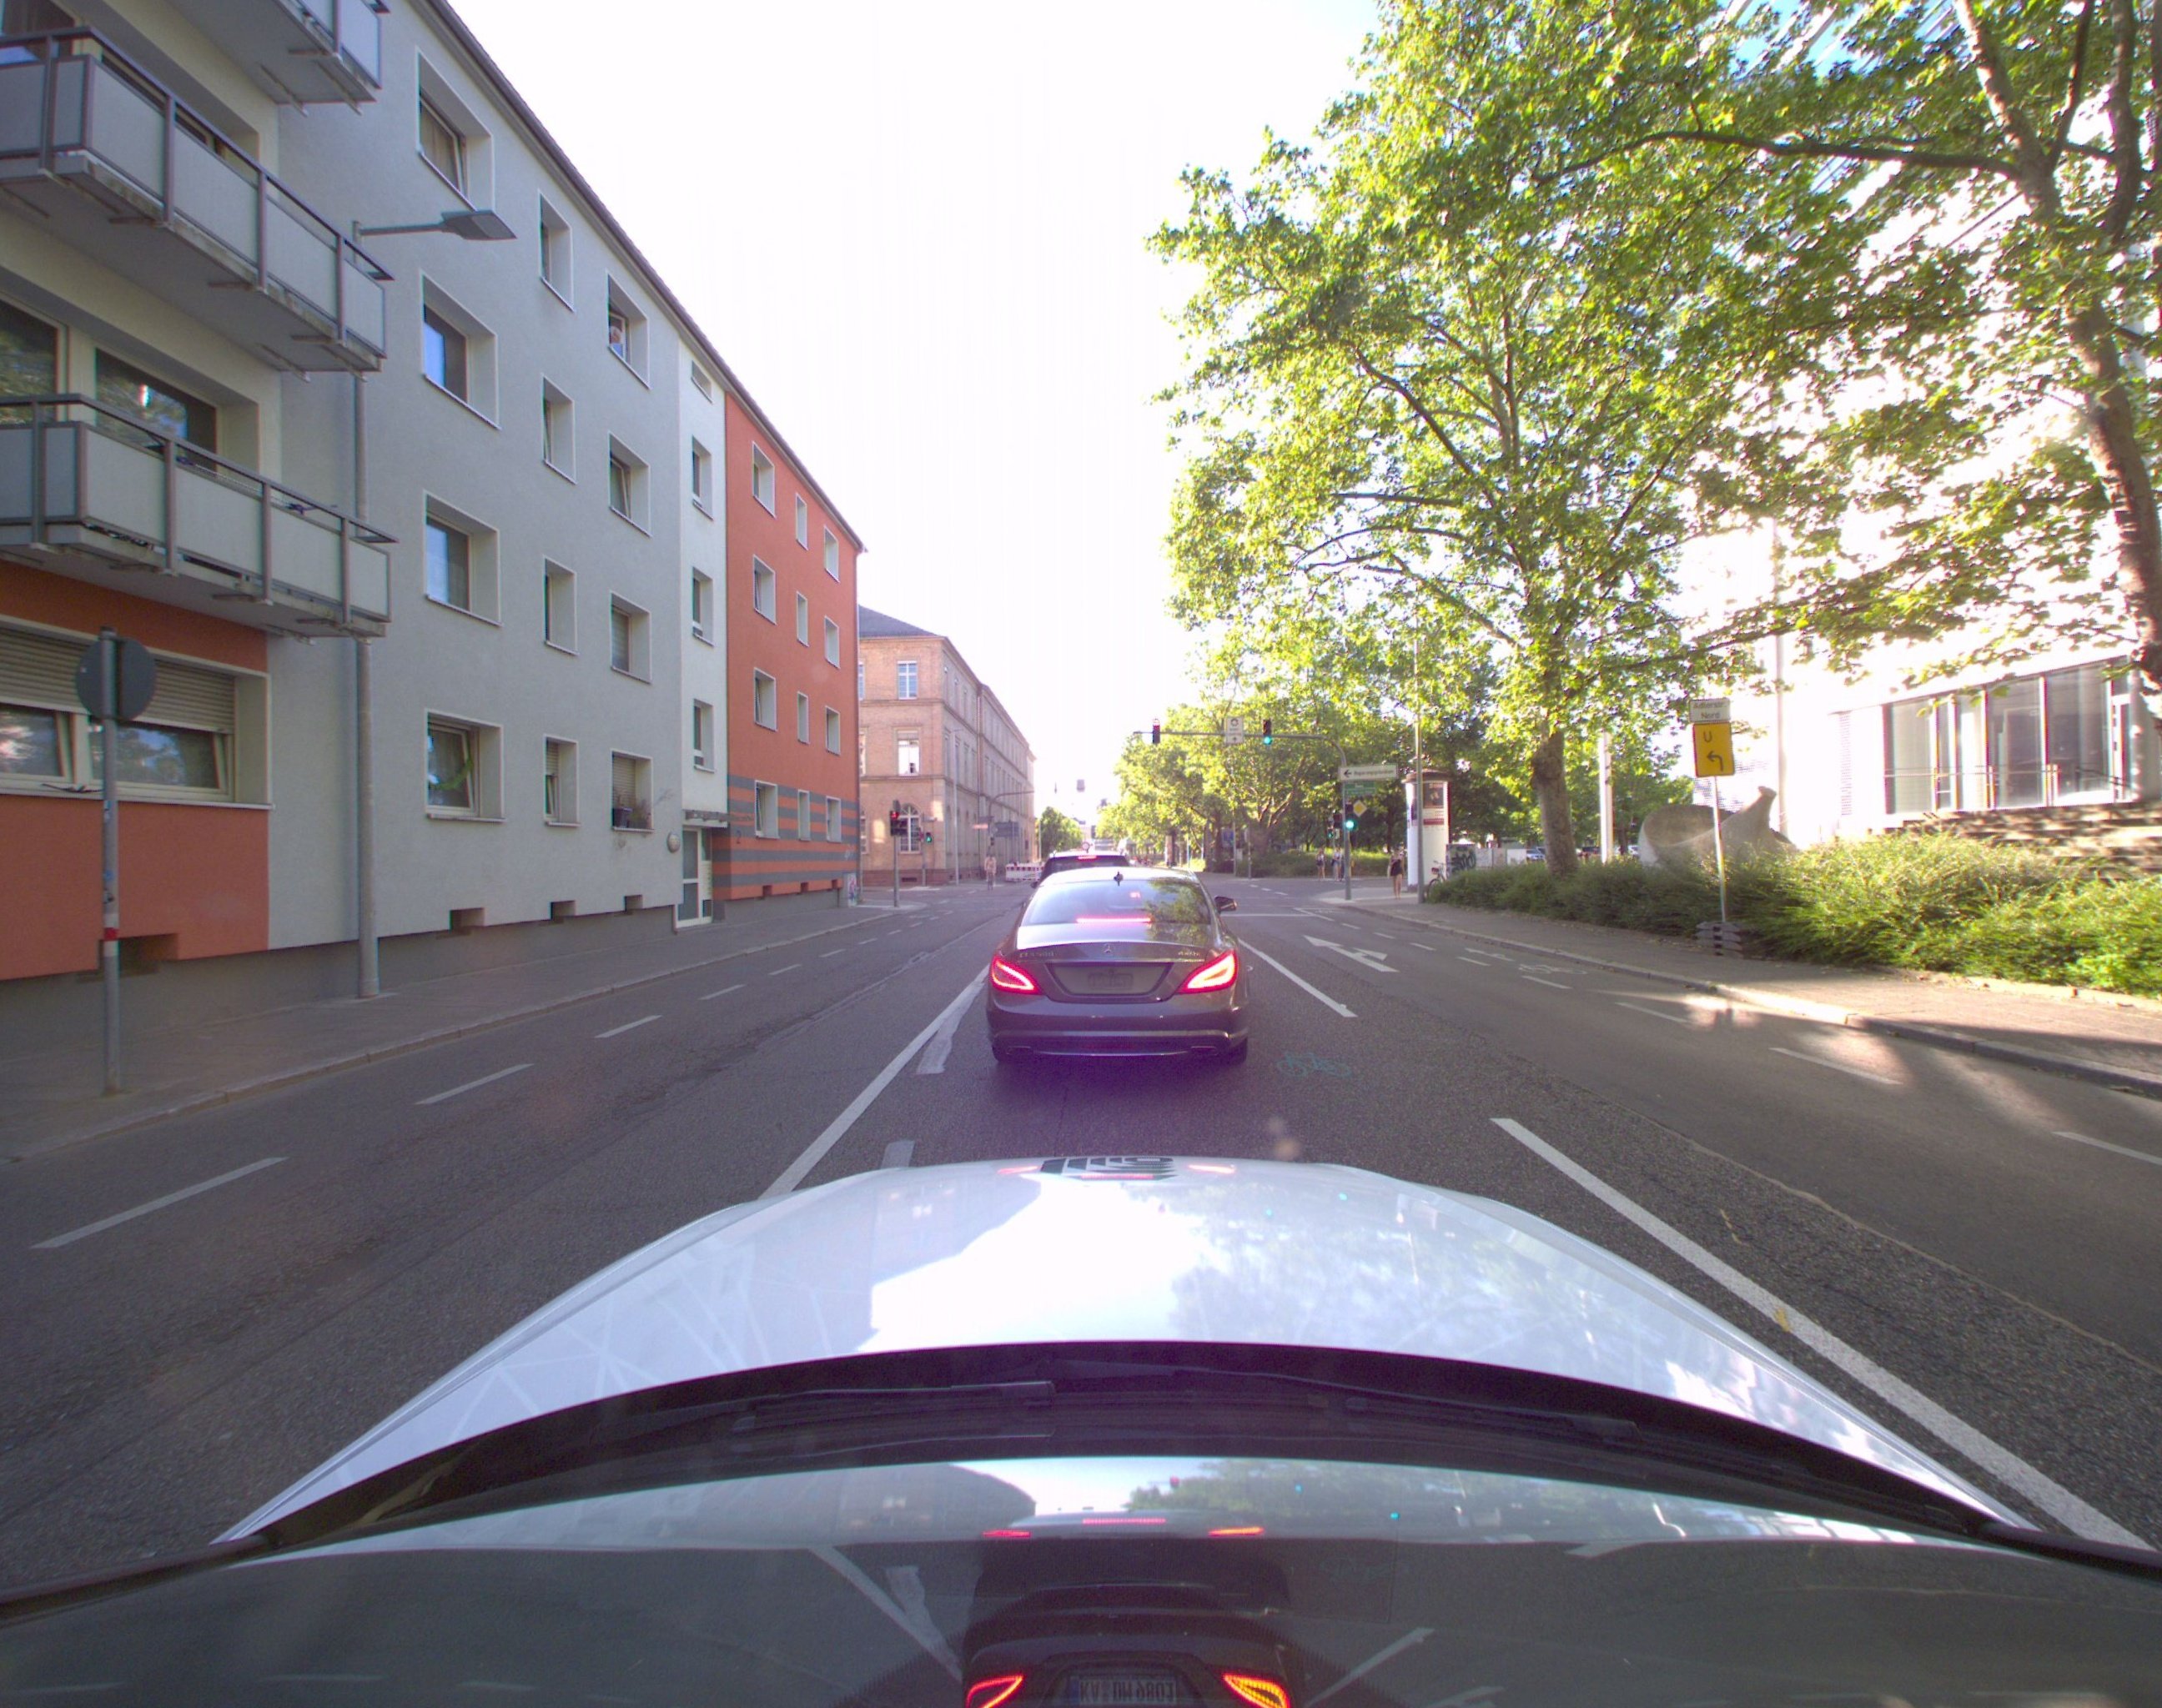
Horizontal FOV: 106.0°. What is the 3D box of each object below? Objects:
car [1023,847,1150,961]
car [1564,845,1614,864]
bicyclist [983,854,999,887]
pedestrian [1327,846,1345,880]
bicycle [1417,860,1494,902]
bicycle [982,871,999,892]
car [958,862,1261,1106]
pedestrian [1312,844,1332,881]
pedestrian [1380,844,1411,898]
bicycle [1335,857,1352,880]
[{"bbox_3d":[0.202,0.743,13.851,1.801,1.612,4.003,-1,-1,3],"label":"car"},{"bbox_3d":[39.741,0.052,63.814,1.624,1.483,3.796,0,-1,1],"label":"car"},{"bbox_3d":[-4.203,0.762,38.129,0.646,1.558,0.807,0,-1,1],"label":"bicyclist"},{"bbox_3d":[12.686,0.446,40.591,0.679,1.697,0.973,0,-1,7],"label":"pedestrian"},{"bbox_3d":[10.802,0.772,23.492,1.969,1.190,0.528,0,-1,0],"label":"bicycle"},{"bbox_3d":[-4.208,1.268,38.001,0.546,0.891,1.868,0,-1,2],"label":"bicycle"},{"bbox_3d":[0.454,0.799,7.177,1.833,1.429,4.527,0,0,8],"label":"car"},{"bbox_3d":[12.044,0.424,40.757,0.729,1.808,0.910,-2,-2,4],"label":"pedestrian"},{"bbox_3d":[9.931,0.539,25.725,0.791,1.630,0.912,-3,-2,19],"label":"pedestrian"},{"bbox_3d":[13.045,0.708,40.542,0.521,1.100,1.745,-1,-1,8],"label":"bicycle"}]
